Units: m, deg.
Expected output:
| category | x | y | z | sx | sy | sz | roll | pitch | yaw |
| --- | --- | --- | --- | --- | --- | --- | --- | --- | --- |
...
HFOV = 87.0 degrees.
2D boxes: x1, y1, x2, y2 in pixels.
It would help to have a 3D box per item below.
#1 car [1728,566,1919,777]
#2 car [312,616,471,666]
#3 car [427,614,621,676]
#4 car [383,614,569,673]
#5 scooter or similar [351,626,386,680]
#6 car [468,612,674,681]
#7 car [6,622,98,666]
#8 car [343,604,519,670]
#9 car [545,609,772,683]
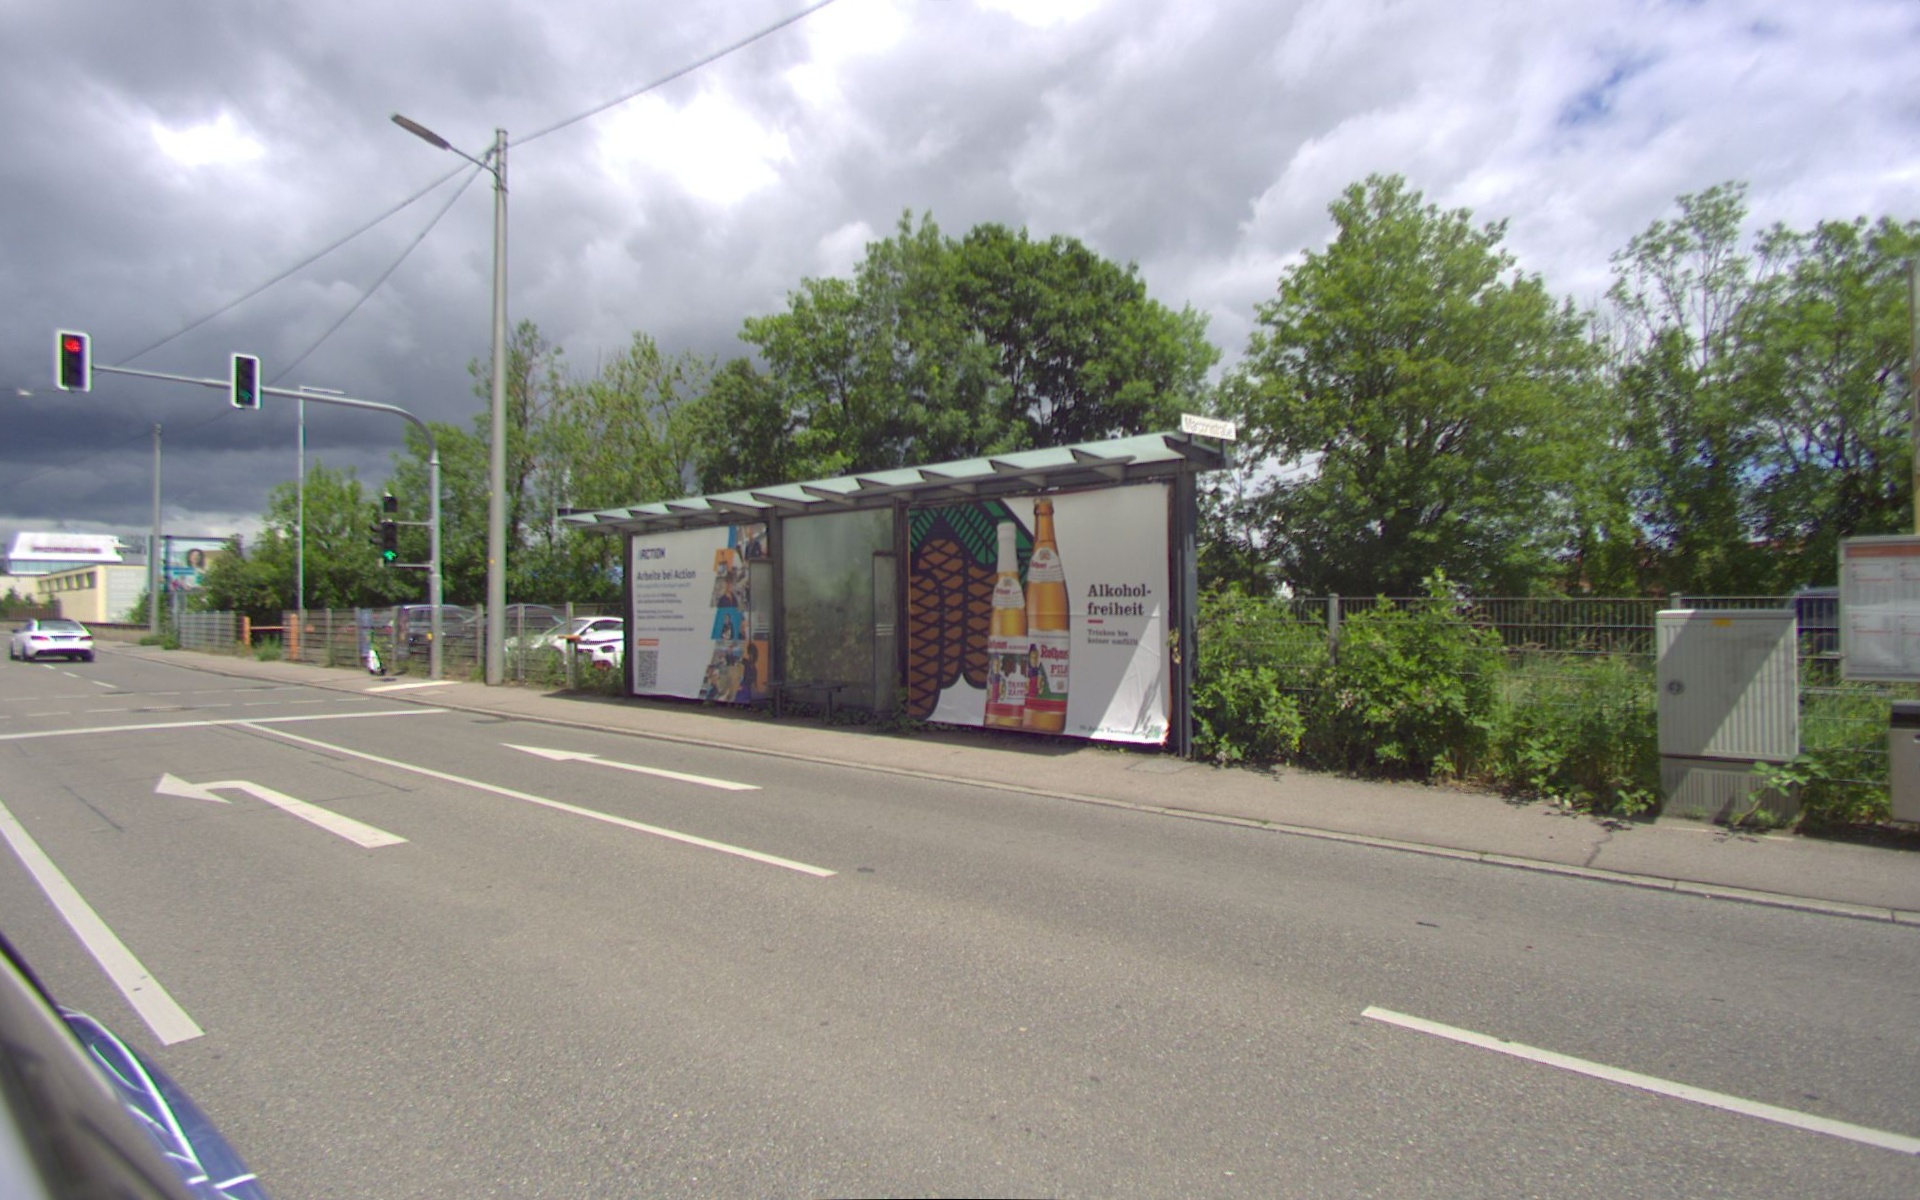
| category | x | y | z | sx | sy | sz | roll | pitch | yaw |
| --- | --- | --- | --- | --- | --- | --- | --- | --- | --- |
| car | 10.328 | 0.709 | 11.583 | 2.135 | 2.029 | 4.242 | 0 | -1 | 33 |
| car | -17.297 | 1.199 | 30.949 | 1.896 | 1.430 | 3.823 | -1 | -1 | 32 |
| car | -10.949 | 1.066 | 25.637 | 1.997 | 1.430 | 4.064 | -1 | -1 | 37 |
| car | -12.869 | 1.105 | 27.094 | 1.998 | 1.430 | 4.061 | -1 | -1 | 40 |
| scooter or similar | -14.051 | 1.240 | 24.039 | 0.419 | 1.219 | 1.127 | -2 | 0 | -45 |
| car | -8.924 | 1.010 | 23.452 | 1.915 | 1.430 | 4.060 | -1 | -1 | 41 |
| car | -30.789 | 1.470 | 34.280 | 4.221 | 1.387 | 1.778 | -1 | -2 | 40 |
| car | -15.158 | 1.020 | 29.183 | 1.996 | 1.748 | 4.066 | -1 | -1 | 36 |
| car | -6.378 | 0.924 | 21.757 | 2.024 | 1.430 | 4.265 | -1 | -1 | 42 |
